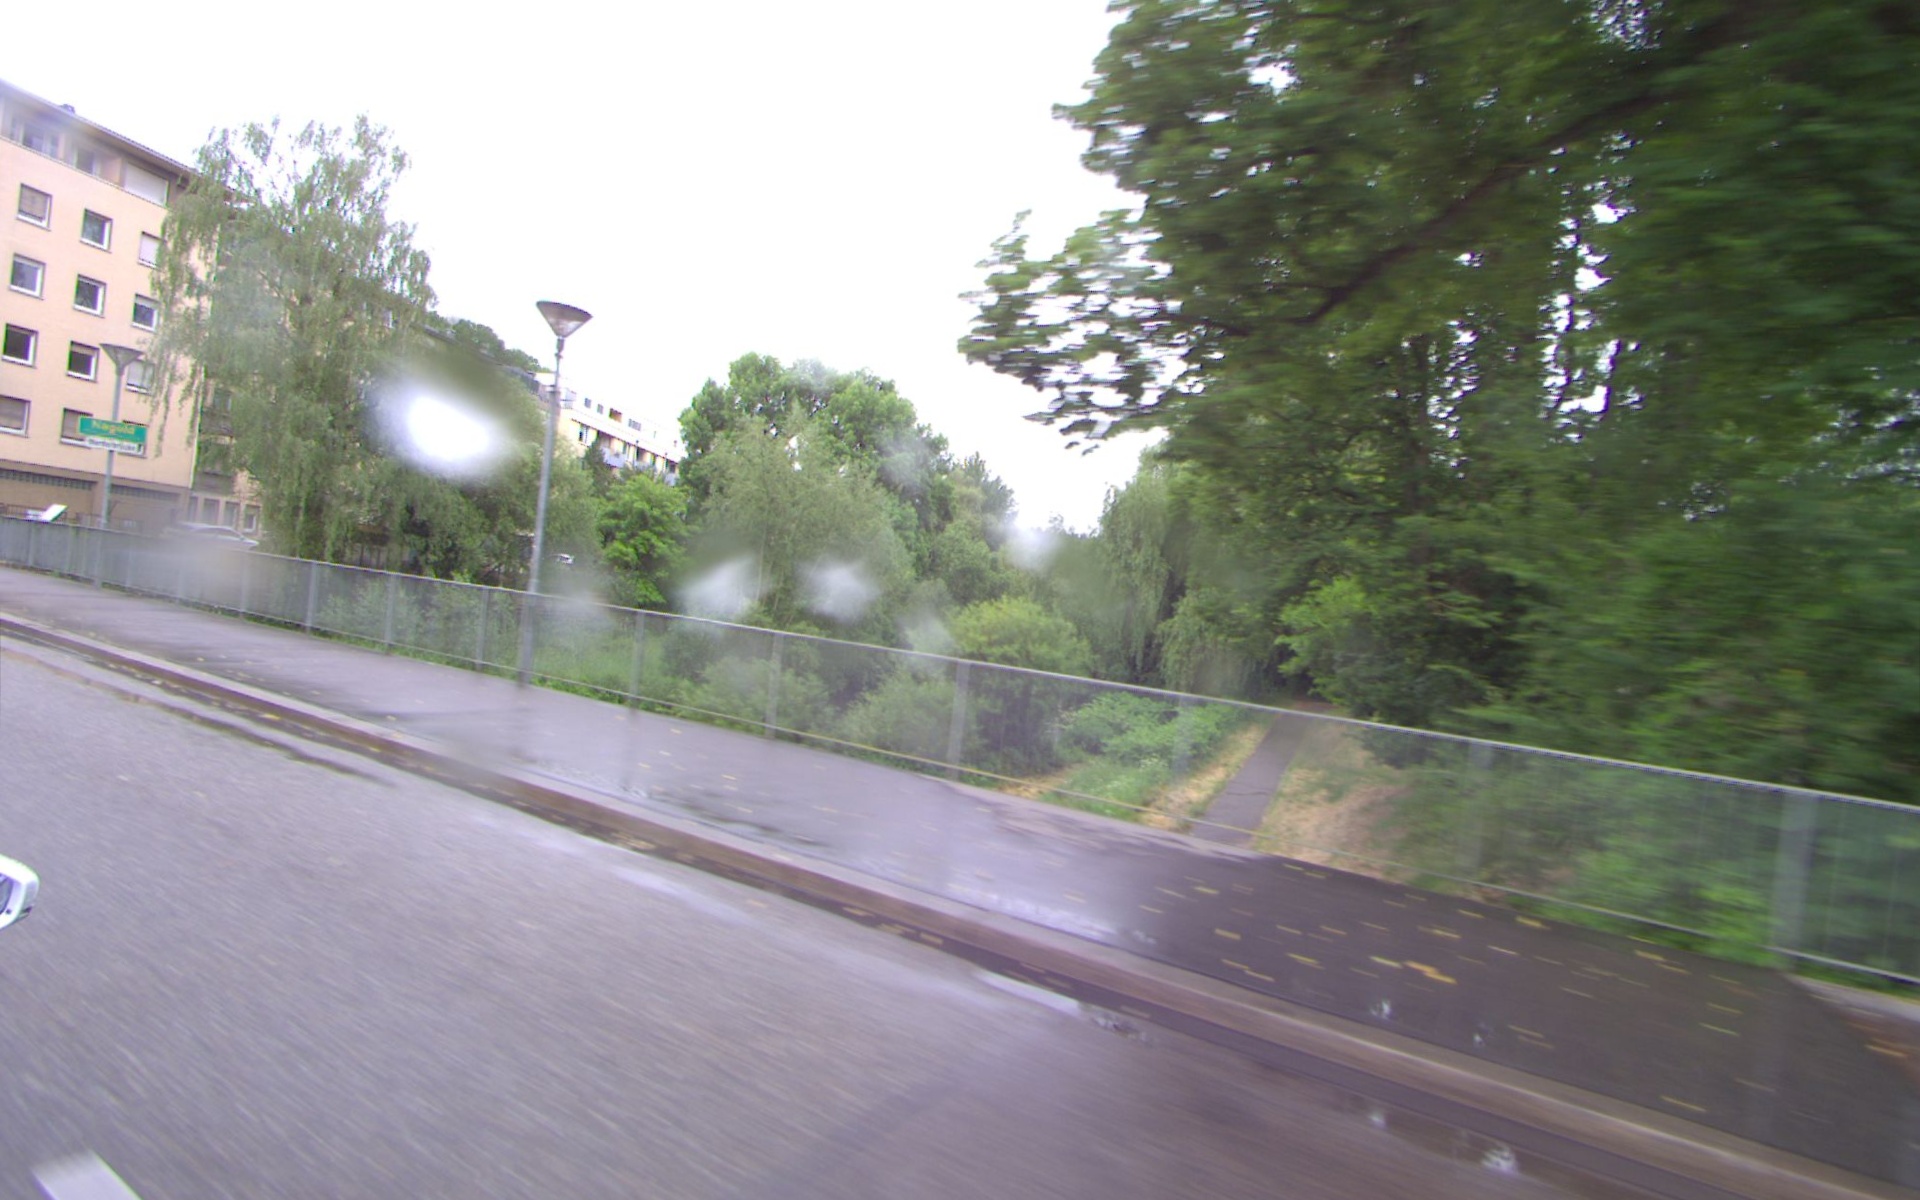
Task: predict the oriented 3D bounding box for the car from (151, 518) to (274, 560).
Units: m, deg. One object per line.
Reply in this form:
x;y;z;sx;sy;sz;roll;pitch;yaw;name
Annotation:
-35.750;-2.890;48.270;1.782;1.393;4.455;9;0;15;car
